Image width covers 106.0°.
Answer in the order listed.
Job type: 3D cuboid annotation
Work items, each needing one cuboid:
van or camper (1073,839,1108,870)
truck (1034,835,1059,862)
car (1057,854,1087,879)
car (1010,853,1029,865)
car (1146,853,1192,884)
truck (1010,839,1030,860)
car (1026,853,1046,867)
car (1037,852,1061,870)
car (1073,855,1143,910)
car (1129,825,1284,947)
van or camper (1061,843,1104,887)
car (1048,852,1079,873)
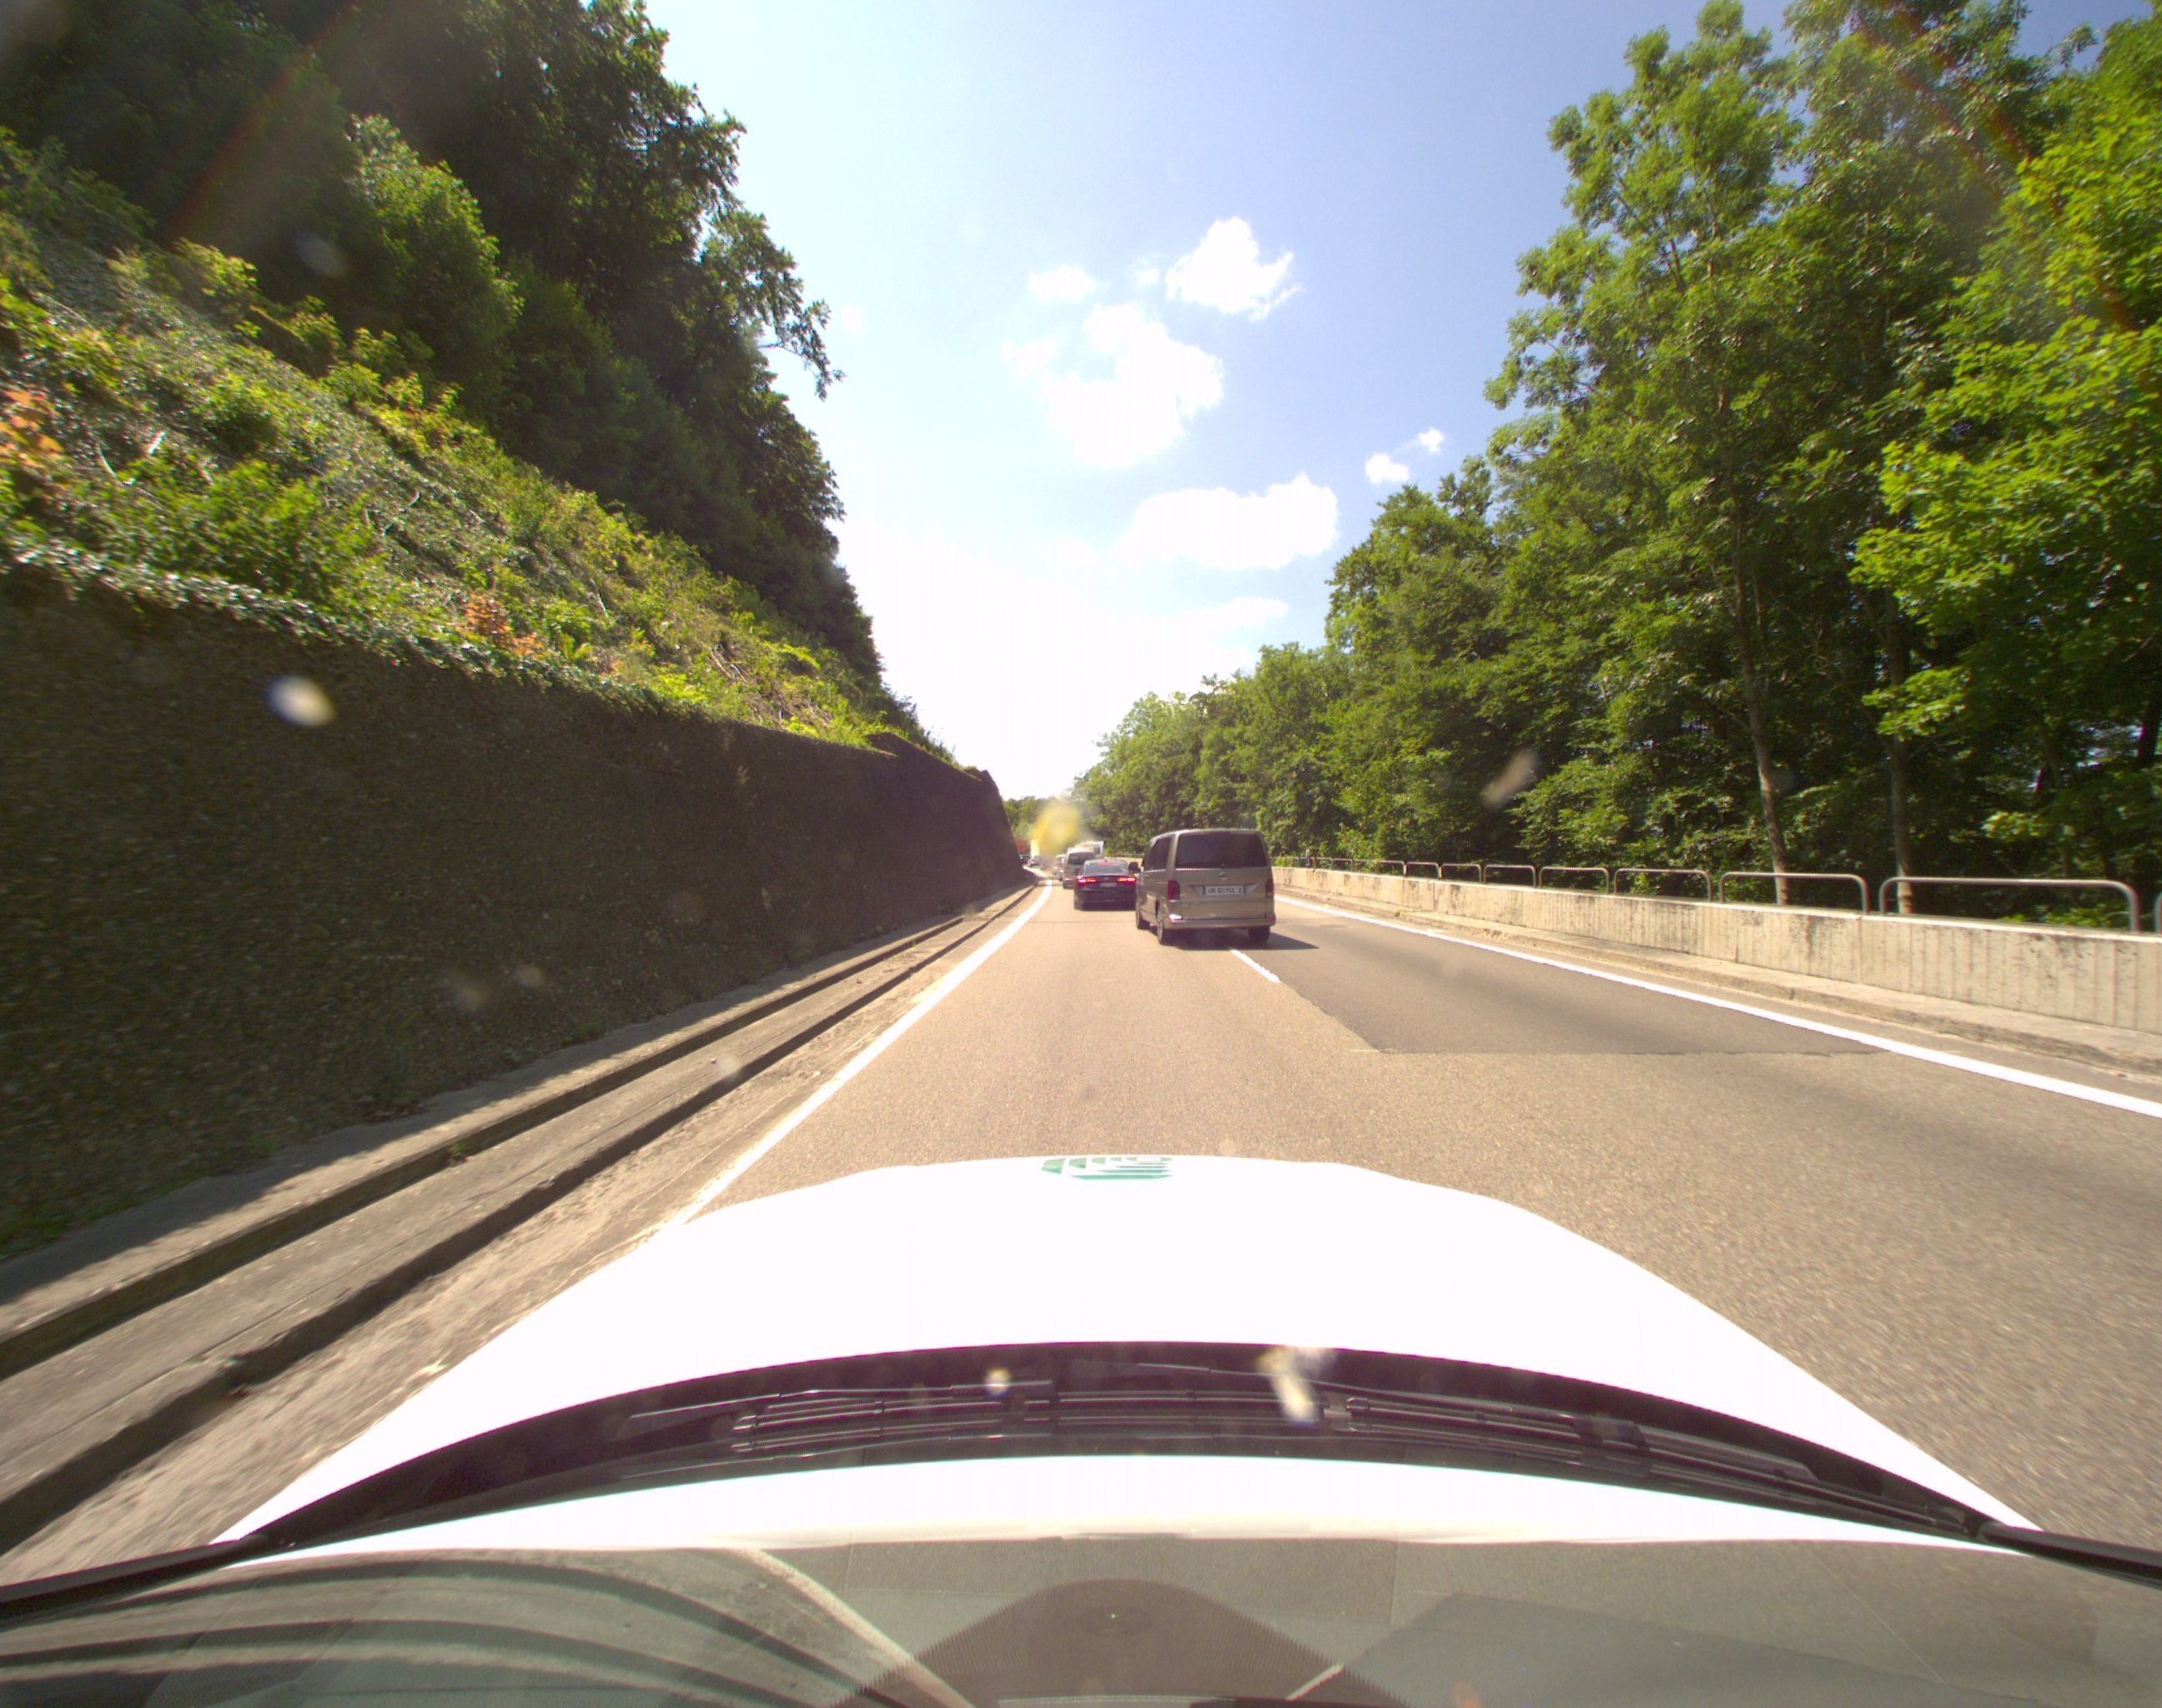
[{"bbox_3d":[0.875,0.046,82.909,2.601,2.855,6.319,2,0,-7],"label":"van or camper"},{"bbox_3d":[-5.169,-0.790,121.030,2.923,3.687,7.704,3,0,-7],"label":"truck"},{"bbox_3d":[-0.588,0.746,50.461,1.767,1.472,3.997,1,0,-2],"label":"car"},{"bbox_3d":[-8.011,0.652,105.822,1.754,1.571,3.751,0,0,-15],"label":"car"},{"bbox_3d":[4.580,0.737,43.009,1.804,1.478,4.078,2,0,-2],"label":"car"},{"bbox_3d":[-10.740,-0.763,142.941,3.158,3.468,8.207,3,0,-5],"label":"truck"},{"bbox_3d":[-5.187,0.646,93.913,1.992,1.618,3.990,0,0,-7],"label":"car"},{"bbox_3d":[-3.118,0.653,78.929,1.857,1.619,3.988,-2,0,-9],"label":"car"},{"bbox_3d":[0.758,0.786,24.414,1.898,1.489,4.379,0,0,0],"label":"car"},{"bbox_3d":[2.153,0.501,15.318,1.936,1.931,4.688,0,0,-4],"label":"car"},{"bbox_3d":[0.023,0.494,39.066,1.849,1.942,4.161,2,0,-2],"label":"van or camper"},{"bbox_3d":[-1.424,0.664,63.497,1.895,1.584,3.759,-1,0,-9],"label":"car"}]
